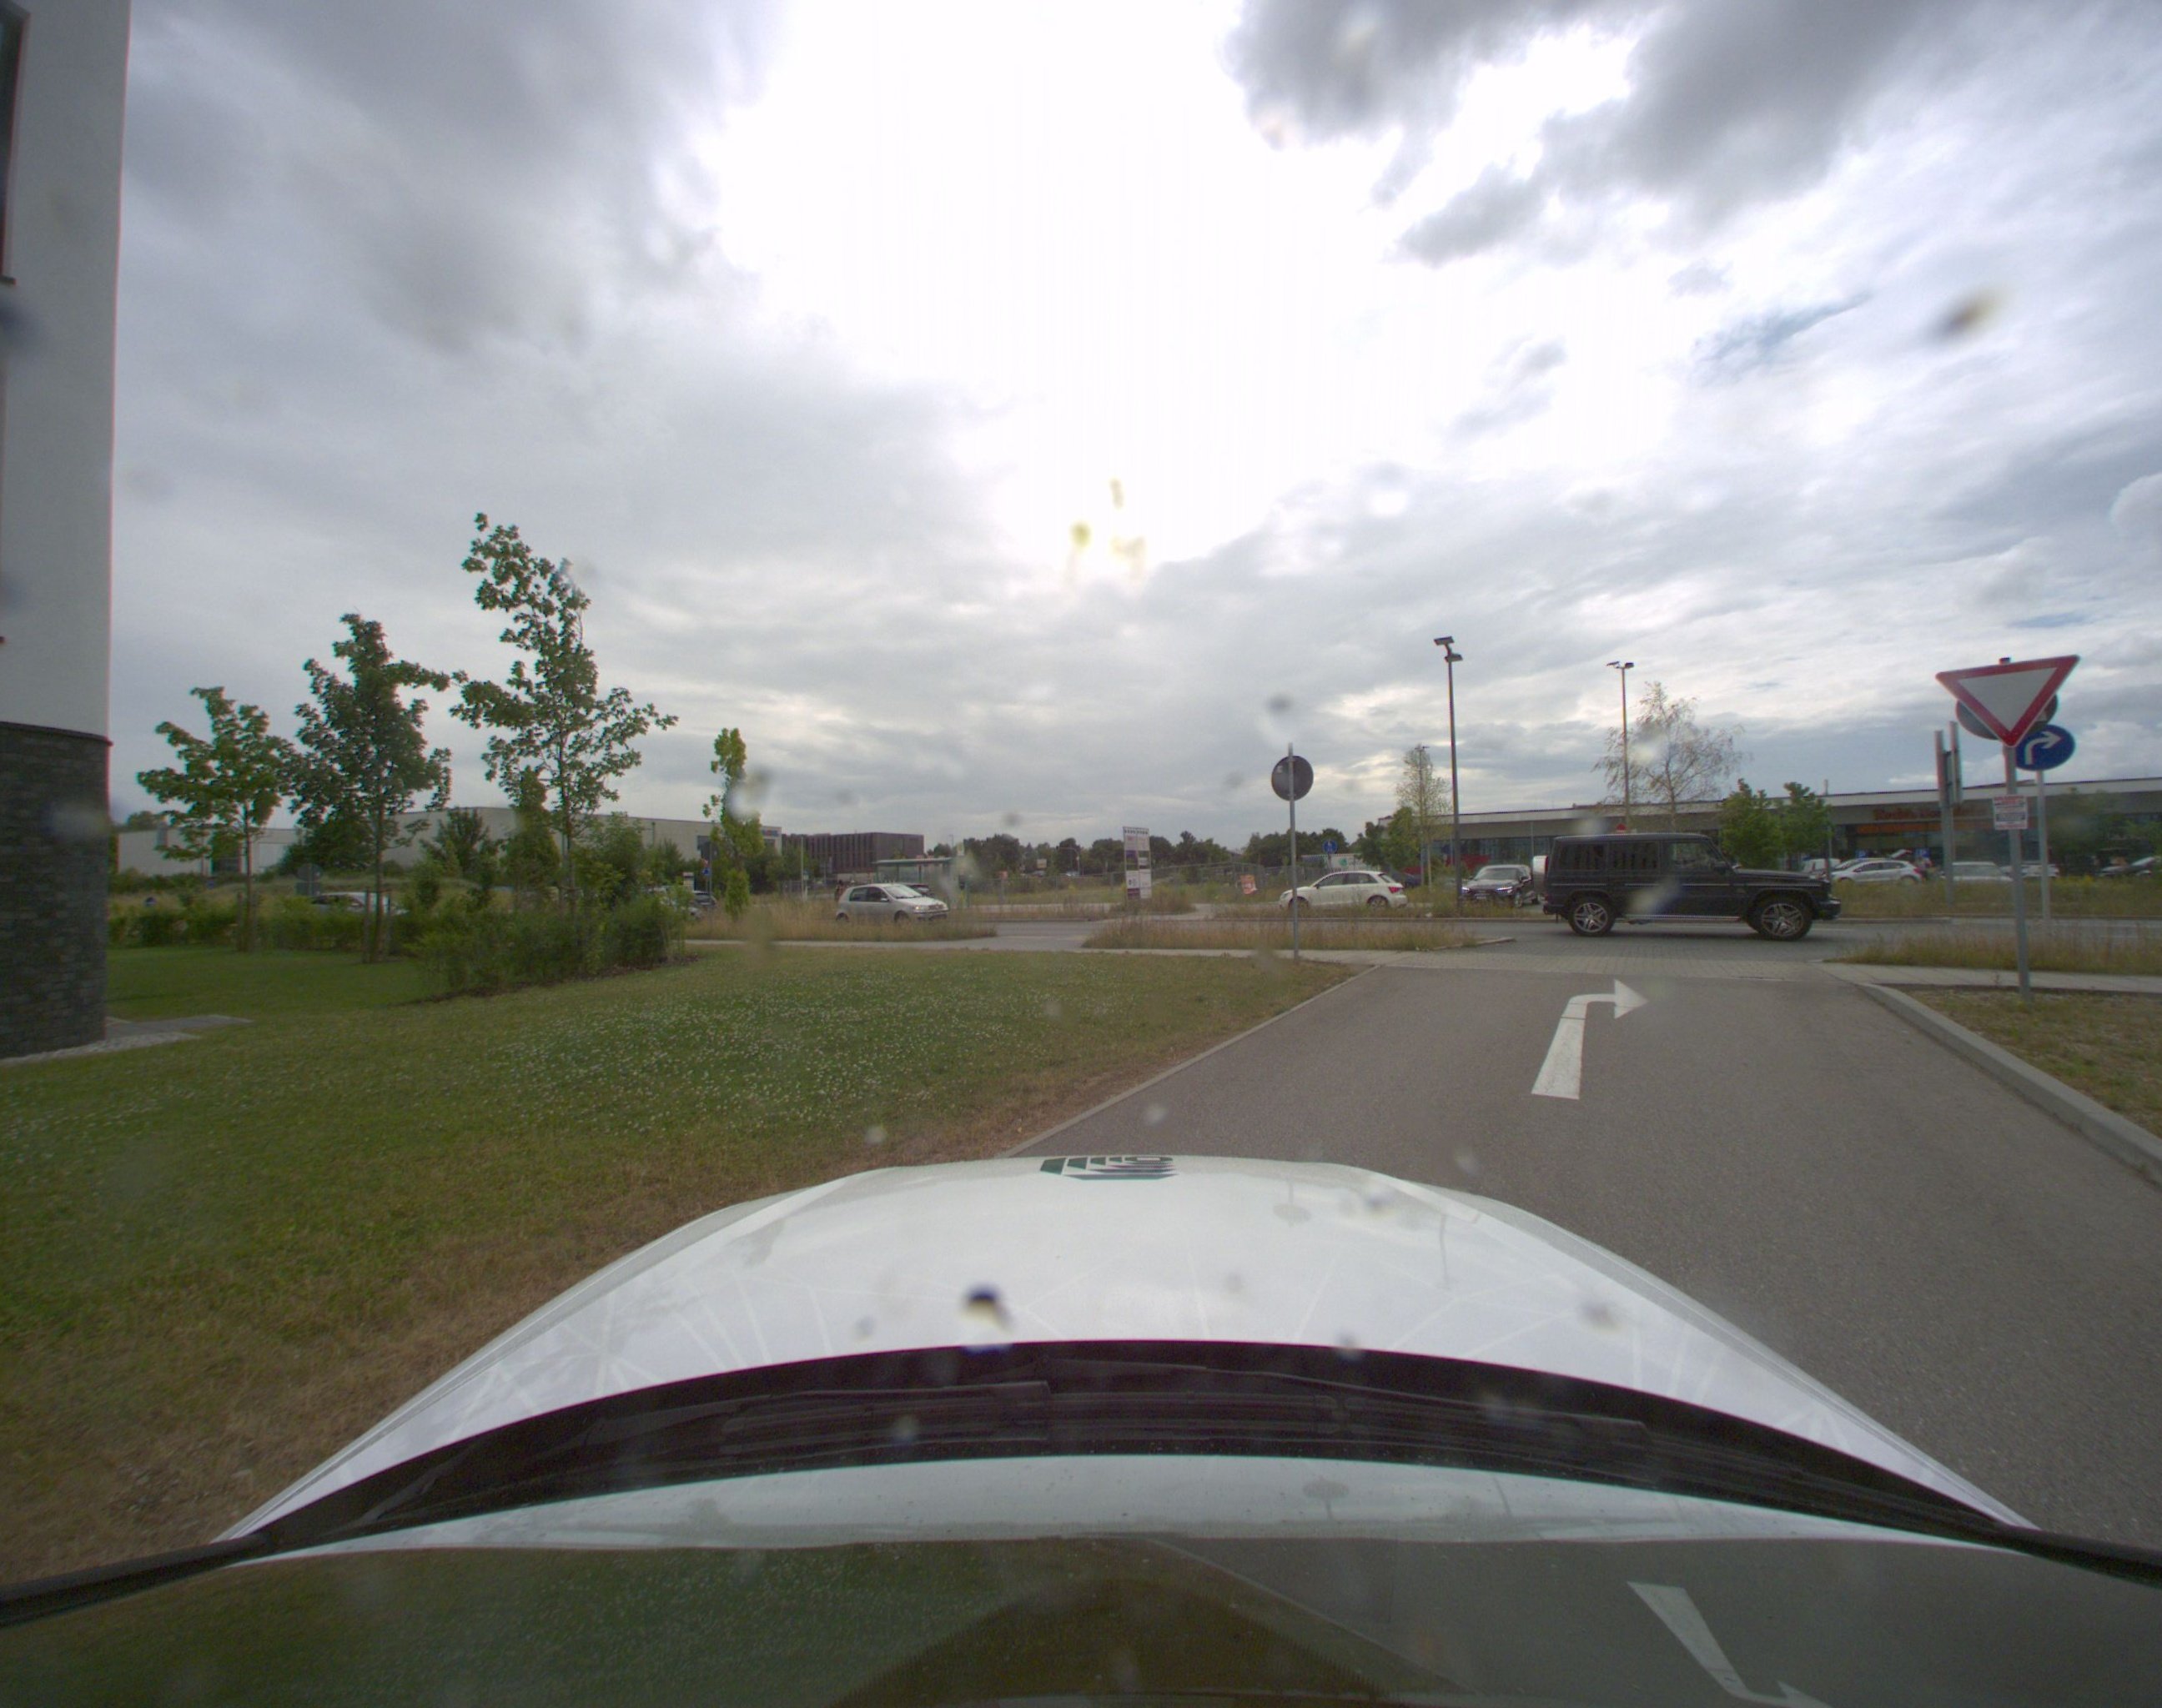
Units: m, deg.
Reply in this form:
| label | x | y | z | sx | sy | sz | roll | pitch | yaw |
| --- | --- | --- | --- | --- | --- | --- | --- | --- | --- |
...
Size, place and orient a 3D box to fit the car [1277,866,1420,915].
| label | x | y | z | sx | sy | sz | roll | pitch | yaw |
| --- | --- | --- | --- | --- | --- | --- | --- | --- | --- |
| car | 8.506 | 1.157 | 25.963 | 4.004 | 1.481 | 1.769 | -2 | -2 | 30 |

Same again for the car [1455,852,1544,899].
| label | x | y | z | sx | sy | sz | roll | pitch | yaw |
| --- | --- | --- | --- | --- | --- | --- | --- | --- | --- |
| car | 14.402 | 0.695 | 27.901 | 1.774 | 1.467 | 4.348 | -2 | -2 | 39 |

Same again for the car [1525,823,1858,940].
| label | x | y | z | sx | sy | sz | roll | pitch | yaw |
| --- | --- | --- | --- | --- | --- | --- | --- | --- | --- |
| car | 11.378 | 0.502 | 15.601 | 4.785 | 1.924 | 2.013 | -2 | -1 | 35 |

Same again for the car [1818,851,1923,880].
| label | x | y | z | sx | sy | sz | roll | pitch | yaw |
| --- | --- | --- | --- | --- | --- | --- | --- | --- | --- |
| car | 42.276 | 0.630 | 43.733 | 3.710 | 1.454 | 1.678 | -2 | -2 | 32 |

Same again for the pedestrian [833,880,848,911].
| label | x | y | z | sx | sy | sz | roll | pitch | yaw |
| --- | --- | --- | --- | --- | --- | --- | --- | --- | --- |
| pedestrian | -13.763 | 2.359 | 46.674 | 0.744 | 1.722 | 0.645 | 0 | -2 | -25 |

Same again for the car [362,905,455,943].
| label | x | y | z | sx | sy | sz | roll | pitch | yaw |
| --- | --- | --- | --- | --- | --- | --- | --- | --- | --- |
| car | -31.356 | 3.251 | 37.958 | 4.345 | 1.563 | 1.832 | -3 | -1 | 29 |

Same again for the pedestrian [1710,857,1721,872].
| label | x | y | z | sx | sy | sz | roll | pitch | yaw |
| --- | --- | --- | --- | --- | --- | --- | --- | --- | --- |
| pedestrian | 49.685 | 0.821 | 63.763 | 0.570 | 1.124 | 0.565 | -3 | -2 | 28 |

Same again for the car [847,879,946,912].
| label | x | y | z | sx | sy | sz | roll | pitch | yaw |
| --- | --- | --- | --- | --- | --- | --- | --- | --- | --- |
| car | -7.970 | 1.789 | 35.163 | 4.013 | 1.343 | 1.729 | -2 | -2 | 28 |

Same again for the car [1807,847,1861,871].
| label | x | y | z | sx | sy | sz | roll | pitch | yaw |
| --- | --- | --- | --- | --- | --- | --- | --- | --- | --- |
| car | 50.291 | 0.365 | 54.463 | 1.974 | 1.508 | 4.025 | -2 | -1 | 34 |

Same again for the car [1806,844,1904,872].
| label | x | y | z | sx | sy | sz | roll | pitch | yaw |
| --- | --- | --- | --- | --- | --- | --- | --- | --- | --- |
| car | 43.859 | 0.262 | 46.239 | 3.710 | 1.454 | 1.678 | -2 | -2 | 32 |

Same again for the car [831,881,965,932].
| label | x | y | z | sx | sy | sz | roll | pitch | yaw |
| --- | --- | --- | --- | --- | --- | --- | --- | --- | --- |
| car | -5.741 | 1.653 | 25.514 | 3.768 | 1.461 | 1.811 | -3 | -2 | 27 |

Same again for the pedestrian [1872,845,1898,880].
| label | x | y | z | sx | sy | sz | roll | pitch | yaw |
| --- | --- | --- | --- | --- | --- | --- | --- | --- | --- |
| pedestrian | 47.269 | 0.509 | 47.873 | 0.856 | 2.014 | 1.010 | -3 | -2 | 36 |

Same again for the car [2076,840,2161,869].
| label | x | y | z | sx | sy | sz | roll | pitch | yaw |
| --- | --- | --- | --- | --- | --- | --- | --- | --- | --- |
| car | 59.801 | 0.015 | 46.093 | 3.948 | 1.508 | 2.013 | -2 | -2 | 33 |

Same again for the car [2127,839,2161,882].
| label | x | y | z | sx | sy | sz | roll | pitch | yaw |
| --- | --- | --- | --- | --- | --- | --- | --- | --- | --- |
| car | 38.114 | 0.208 | 27.838 | 1.969 | 1.451 | 4.175 | -2 | -2 | 39 |

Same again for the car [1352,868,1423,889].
| label | x | y | z | sx | sy | sz | roll | pitch | yaw |
| --- | --- | --- | --- | --- | --- | --- | --- | --- | --- |
| car | 24.137 | 1.919 | 64.091 | 4.961 | 1.558 | 2.012 | -2 | -2 | 27 |

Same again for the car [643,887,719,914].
| label | x | y | z | sx | sy | sz | roll | pitch | yaw |
| --- | --- | --- | --- | --- | --- | --- | --- | --- | --- |
| car | -21.045 | 2.438 | 42.820 | 3.912 | 1.343 | 1.729 | -2 | -2 | 32 |

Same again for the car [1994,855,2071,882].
| label | x | y | z | sx | sy | sz | roll | pitch | yaw |
| --- | --- | --- | --- | --- | --- | --- | --- | --- | --- |
| car | 57.894 | 0.862 | 49.617 | 1.974 | 1.508 | 4.025 | -3 | -2 | 34 |

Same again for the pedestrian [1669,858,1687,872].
| label | x | y | z | sx | sy | sz | roll | pitch | yaw |
| --- | --- | --- | --- | --- | --- | --- | --- | --- | --- |
| pedestrian | 48.559 | 0.880 | 66.247 | 0.961 | 1.154 | 1.140 | -3 | -2 | 30 |

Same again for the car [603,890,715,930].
| label | x | y | z | sx | sy | sz | roll | pitch | yaw |
| --- | --- | --- | --- | --- | --- | --- | --- | --- | --- |
| car | -16.449 | 2.175 | 31.691 | 4.247 | 1.386 | 1.770 | -3 | -2 | 28 |
